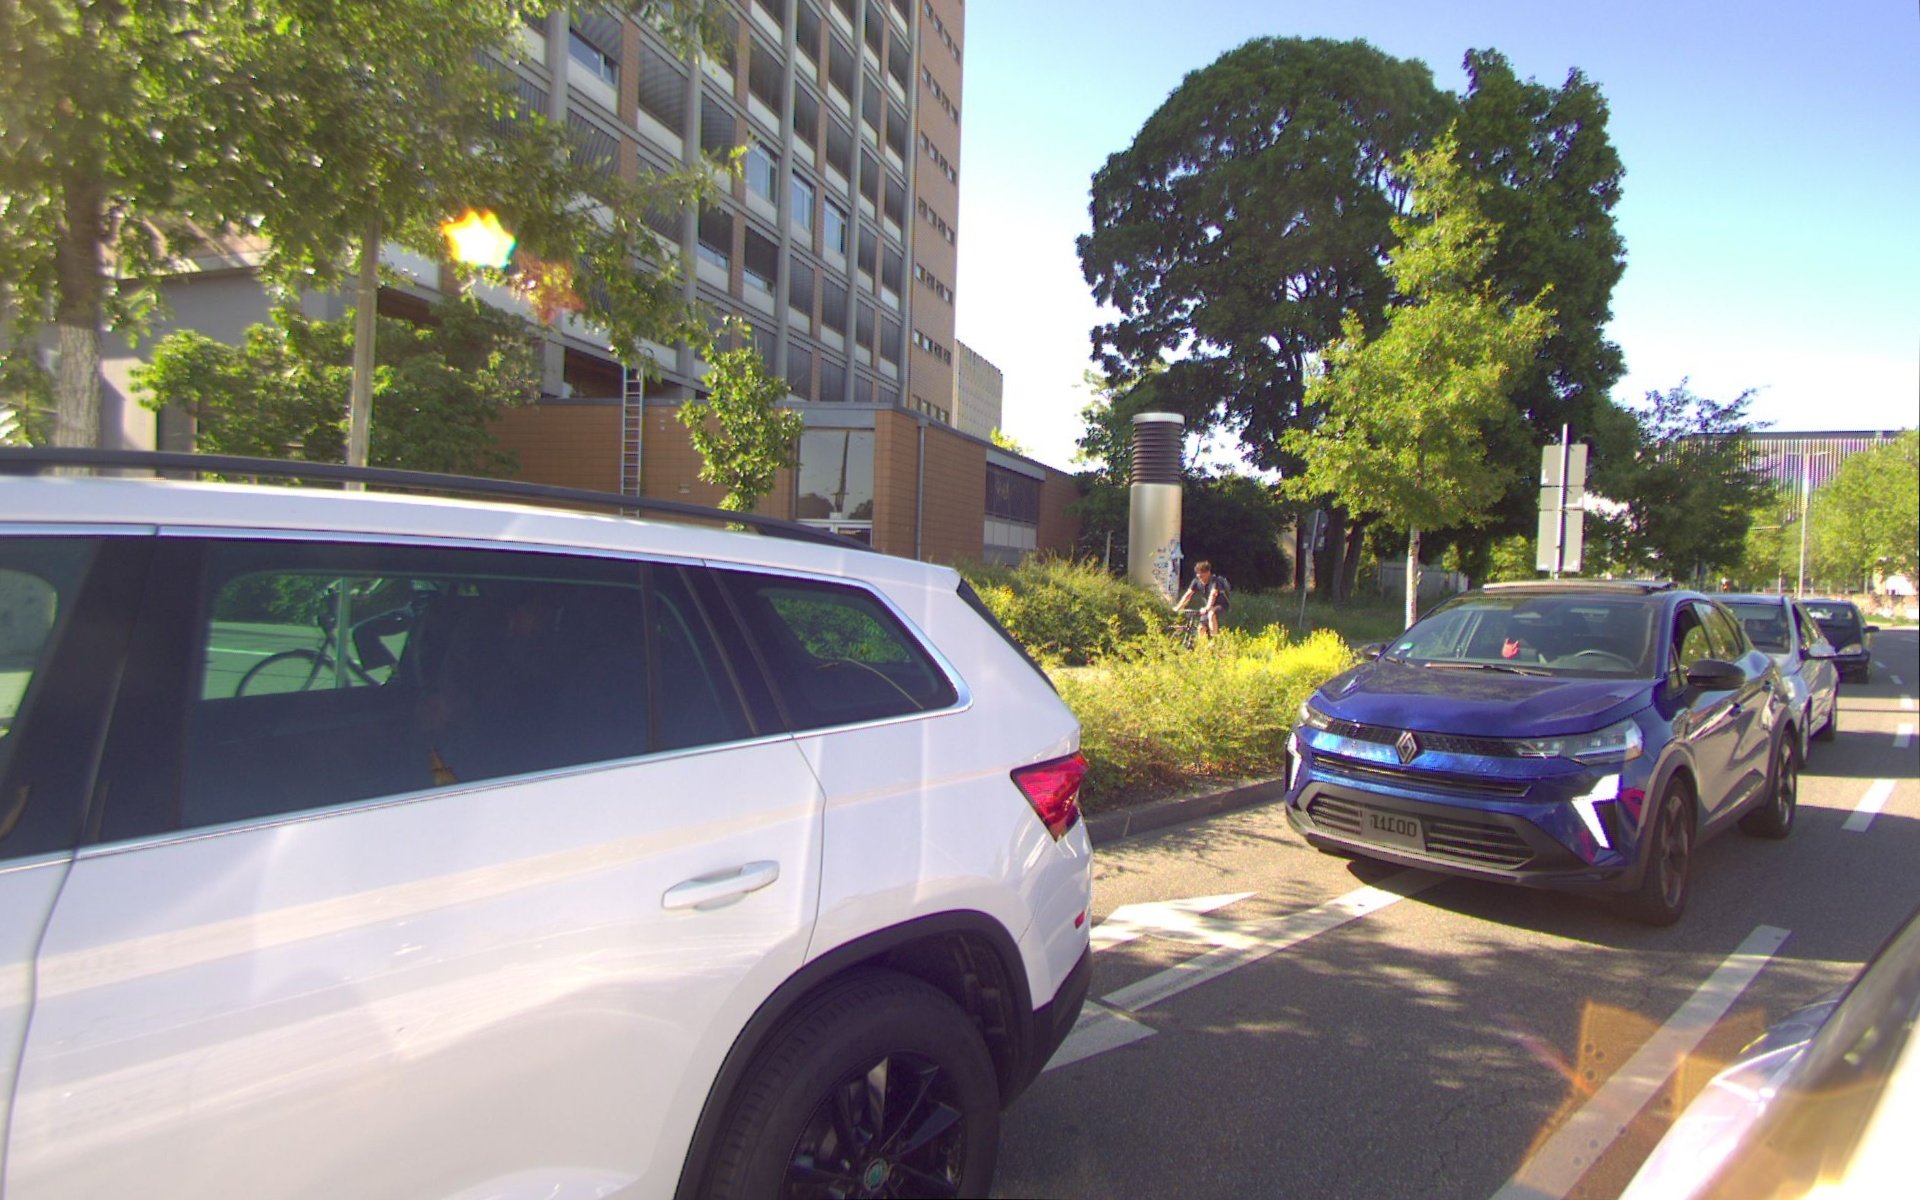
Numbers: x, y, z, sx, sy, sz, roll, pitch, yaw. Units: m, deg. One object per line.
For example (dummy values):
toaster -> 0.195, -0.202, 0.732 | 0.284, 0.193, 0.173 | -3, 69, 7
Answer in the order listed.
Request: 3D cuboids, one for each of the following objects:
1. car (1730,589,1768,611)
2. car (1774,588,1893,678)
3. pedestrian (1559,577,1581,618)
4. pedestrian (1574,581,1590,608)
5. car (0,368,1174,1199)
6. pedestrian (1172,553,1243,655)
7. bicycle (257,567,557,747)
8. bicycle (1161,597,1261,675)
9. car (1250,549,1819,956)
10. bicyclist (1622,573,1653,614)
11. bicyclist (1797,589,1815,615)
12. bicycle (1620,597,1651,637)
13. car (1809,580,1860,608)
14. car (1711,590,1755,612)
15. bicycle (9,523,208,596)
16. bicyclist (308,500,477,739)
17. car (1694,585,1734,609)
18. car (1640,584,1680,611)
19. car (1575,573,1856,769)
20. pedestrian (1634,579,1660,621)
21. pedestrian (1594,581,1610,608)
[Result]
car -> 61.887, -0.013, 79.414 | 1.578, 1.625, 3.048 | 2, 1, 23
car -> 17.778, 0.602, 20.547 | 1.647, 1.631, 3.435 | 3, 2, 43
pedestrian -> 24.568, -0.098, 40.782 | 0.686, 1.624, 0.655 | 2, 1, 28
pedestrian -> 44.738, -0.396, 72.762 | 0.811, 1.941, 0.767 | 0, 0, 20
car -> -1.625, 0.560, 1.665 | 4.223, 1.662, 1.697 | 0, 2, -42
pedestrian -> 3.628, 0.047, 14.824 | 0.945, 1.419, 0.517 | 0, 3, -43
bicycle -> -4.062, 0.371, 7.519 | 1.850, 1.178, 0.686 | 1, 1, -40
bicycle -> 3.717, 0.498, 14.916 | 1.738, 1.057, 0.517 | 0, 4, -43
car -> 3.600, 0.596, 6.008 | 4.012, 1.626, 1.704 | 0, 1, -41
bicyclist -> 22.660, -0.234, 33.863 | 0.717, 1.294, 0.897 | 4, 3, 31
bicyclist -> 52.203, 0.119, 62.451 | 0.688, 1.578, 0.809 | 0, 0, 25
bicycle -> 22.685, 0.569, 34.009 | 0.687, 1.232, 1.814 | 4, 3, 31
car -> 55.823, -0.366, 64.678 | 1.509, 1.700, 3.353 | 1, 0, 24
car -> 52.270, 0.054, 68.487 | 1.736, 1.396, 3.540 | 1, 1, 27
bicycle -> -17.555, -0.808, 21.011 | 0.790, 1.394, 3.111 | 2, 1, 26
bicyclist -> -4.164, 0.123, 7.430 | 0.960, 1.618, 0.686 | 1, 1, -40
car -> 65.471, -0.293, 87.910 | 1.767, 2.039, 4.201 | 1, 1, 22
car -> 51.126, -0.179, 73.994 | 1.811, 1.876, 3.717 | 2, 1, 27
car -> 8.075, 0.593, 10.679 | 3.977, 1.645, 1.782 | 0, 2, -45
pedestrian -> 27.384, -0.010, 40.353 | 0.685, 1.624, 0.656 | 2, 1, 24
pedestrian -> 45.772, -0.390, 72.179 | 0.811, 1.941, 0.767 | 0, 0, 20
